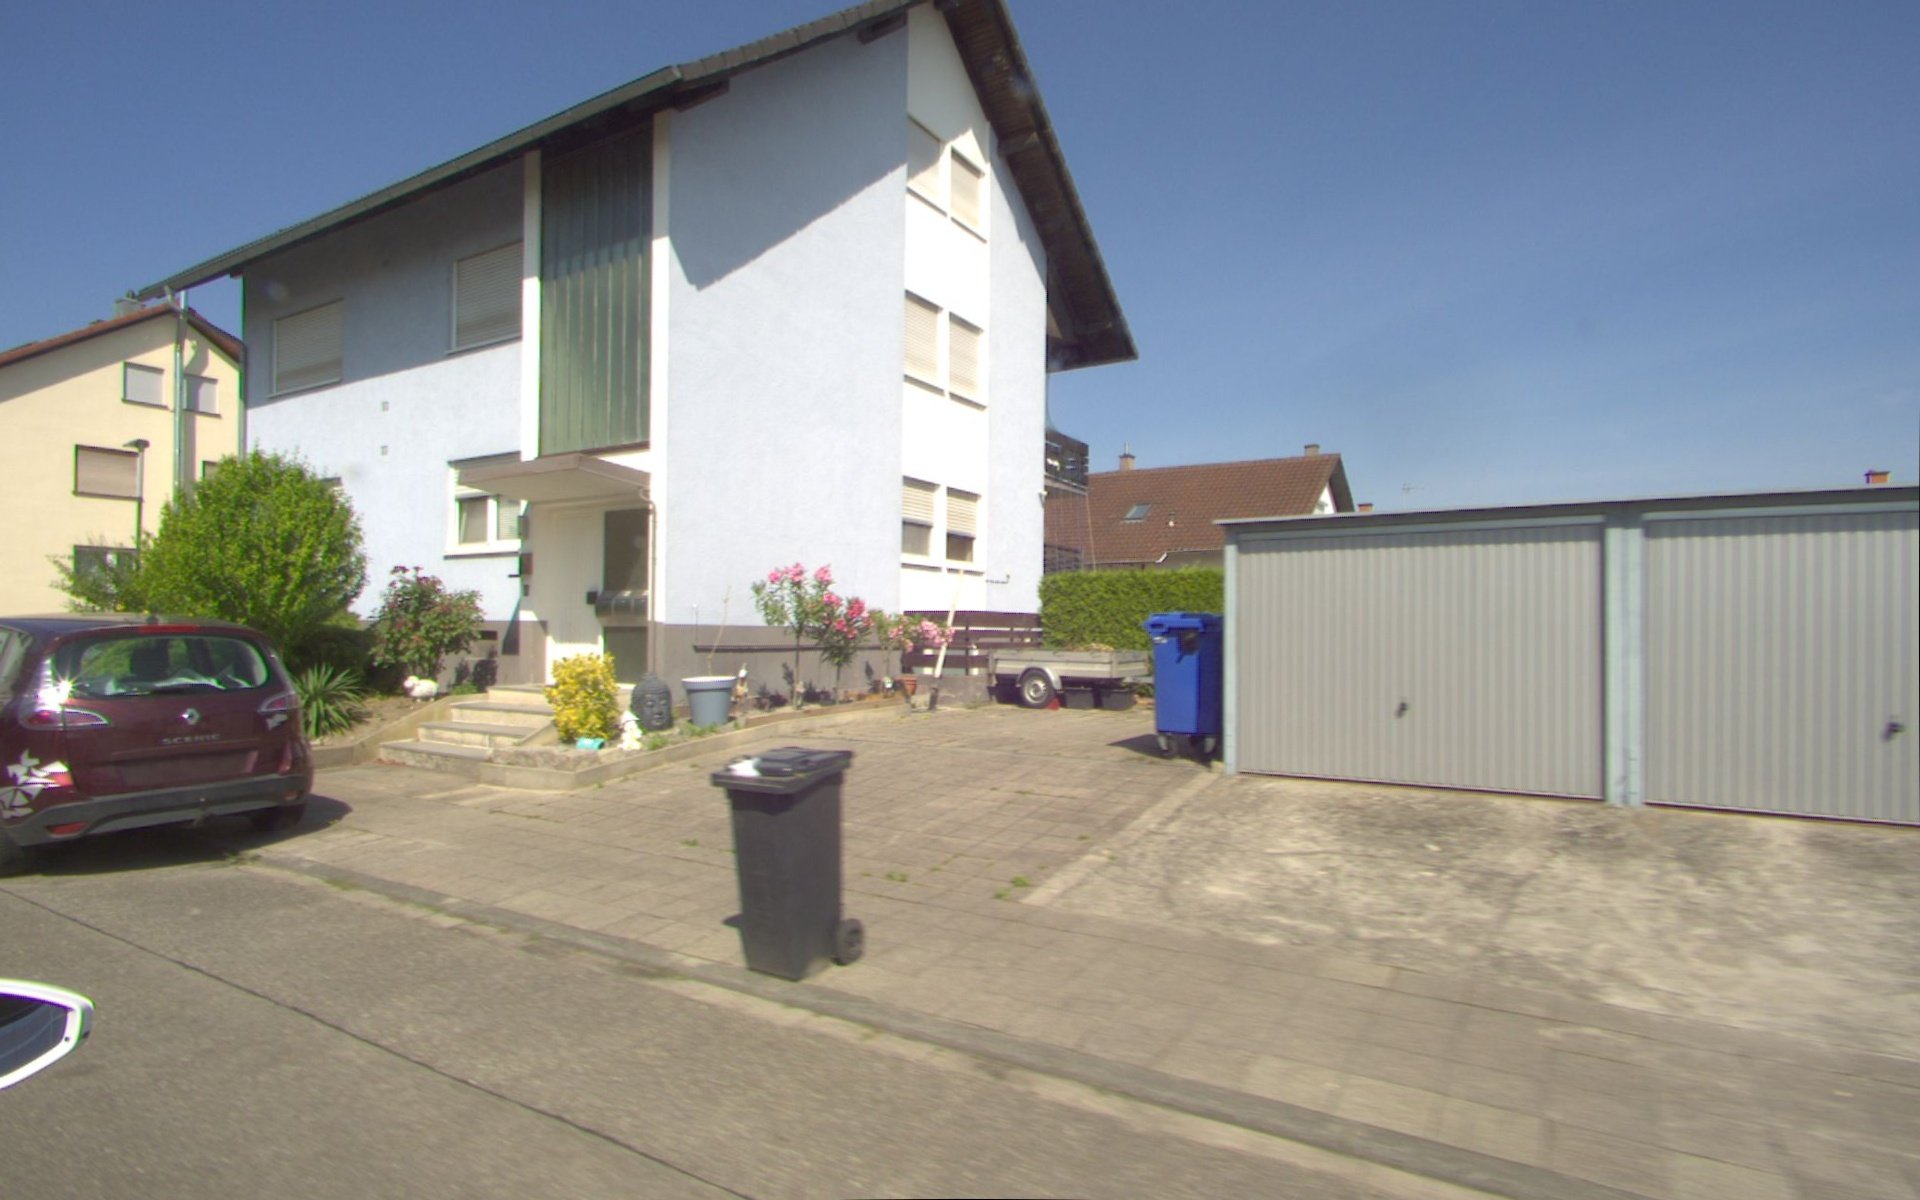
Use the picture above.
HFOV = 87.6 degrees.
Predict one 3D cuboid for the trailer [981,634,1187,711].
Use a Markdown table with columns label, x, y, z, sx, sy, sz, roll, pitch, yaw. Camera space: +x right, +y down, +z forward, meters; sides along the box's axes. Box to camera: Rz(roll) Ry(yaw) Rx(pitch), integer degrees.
| label | x | y | z | sx | sy | sz | roll | pitch | yaw |
| --- | --- | --- | --- | --- | --- | --- | --- | --- | --- |
| trailer | 1.769 | 0.992 | 14.422 | 2.645 | 0.958 | 1.324 | 0 | -1 | 34 |

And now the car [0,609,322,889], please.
| label | x | y | z | sx | sy | sz | roll | pitch | yaw |
| --- | --- | --- | --- | --- | --- | --- | --- | --- | --- |
| car | -6.687 | 0.882 | 7.539 | 4.089 | 1.602 | 1.642 | 0 | -1 | 33 |

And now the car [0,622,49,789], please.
| label | x | y | z | sx | sy | sz | roll | pitch | yaw |
| --- | --- | --- | --- | --- | --- | --- | --- | --- | --- |
| car | -10.978 | 0.994 | 10.059 | 3.988 | 1.566 | 1.643 | 0 | -1 | 31 |
